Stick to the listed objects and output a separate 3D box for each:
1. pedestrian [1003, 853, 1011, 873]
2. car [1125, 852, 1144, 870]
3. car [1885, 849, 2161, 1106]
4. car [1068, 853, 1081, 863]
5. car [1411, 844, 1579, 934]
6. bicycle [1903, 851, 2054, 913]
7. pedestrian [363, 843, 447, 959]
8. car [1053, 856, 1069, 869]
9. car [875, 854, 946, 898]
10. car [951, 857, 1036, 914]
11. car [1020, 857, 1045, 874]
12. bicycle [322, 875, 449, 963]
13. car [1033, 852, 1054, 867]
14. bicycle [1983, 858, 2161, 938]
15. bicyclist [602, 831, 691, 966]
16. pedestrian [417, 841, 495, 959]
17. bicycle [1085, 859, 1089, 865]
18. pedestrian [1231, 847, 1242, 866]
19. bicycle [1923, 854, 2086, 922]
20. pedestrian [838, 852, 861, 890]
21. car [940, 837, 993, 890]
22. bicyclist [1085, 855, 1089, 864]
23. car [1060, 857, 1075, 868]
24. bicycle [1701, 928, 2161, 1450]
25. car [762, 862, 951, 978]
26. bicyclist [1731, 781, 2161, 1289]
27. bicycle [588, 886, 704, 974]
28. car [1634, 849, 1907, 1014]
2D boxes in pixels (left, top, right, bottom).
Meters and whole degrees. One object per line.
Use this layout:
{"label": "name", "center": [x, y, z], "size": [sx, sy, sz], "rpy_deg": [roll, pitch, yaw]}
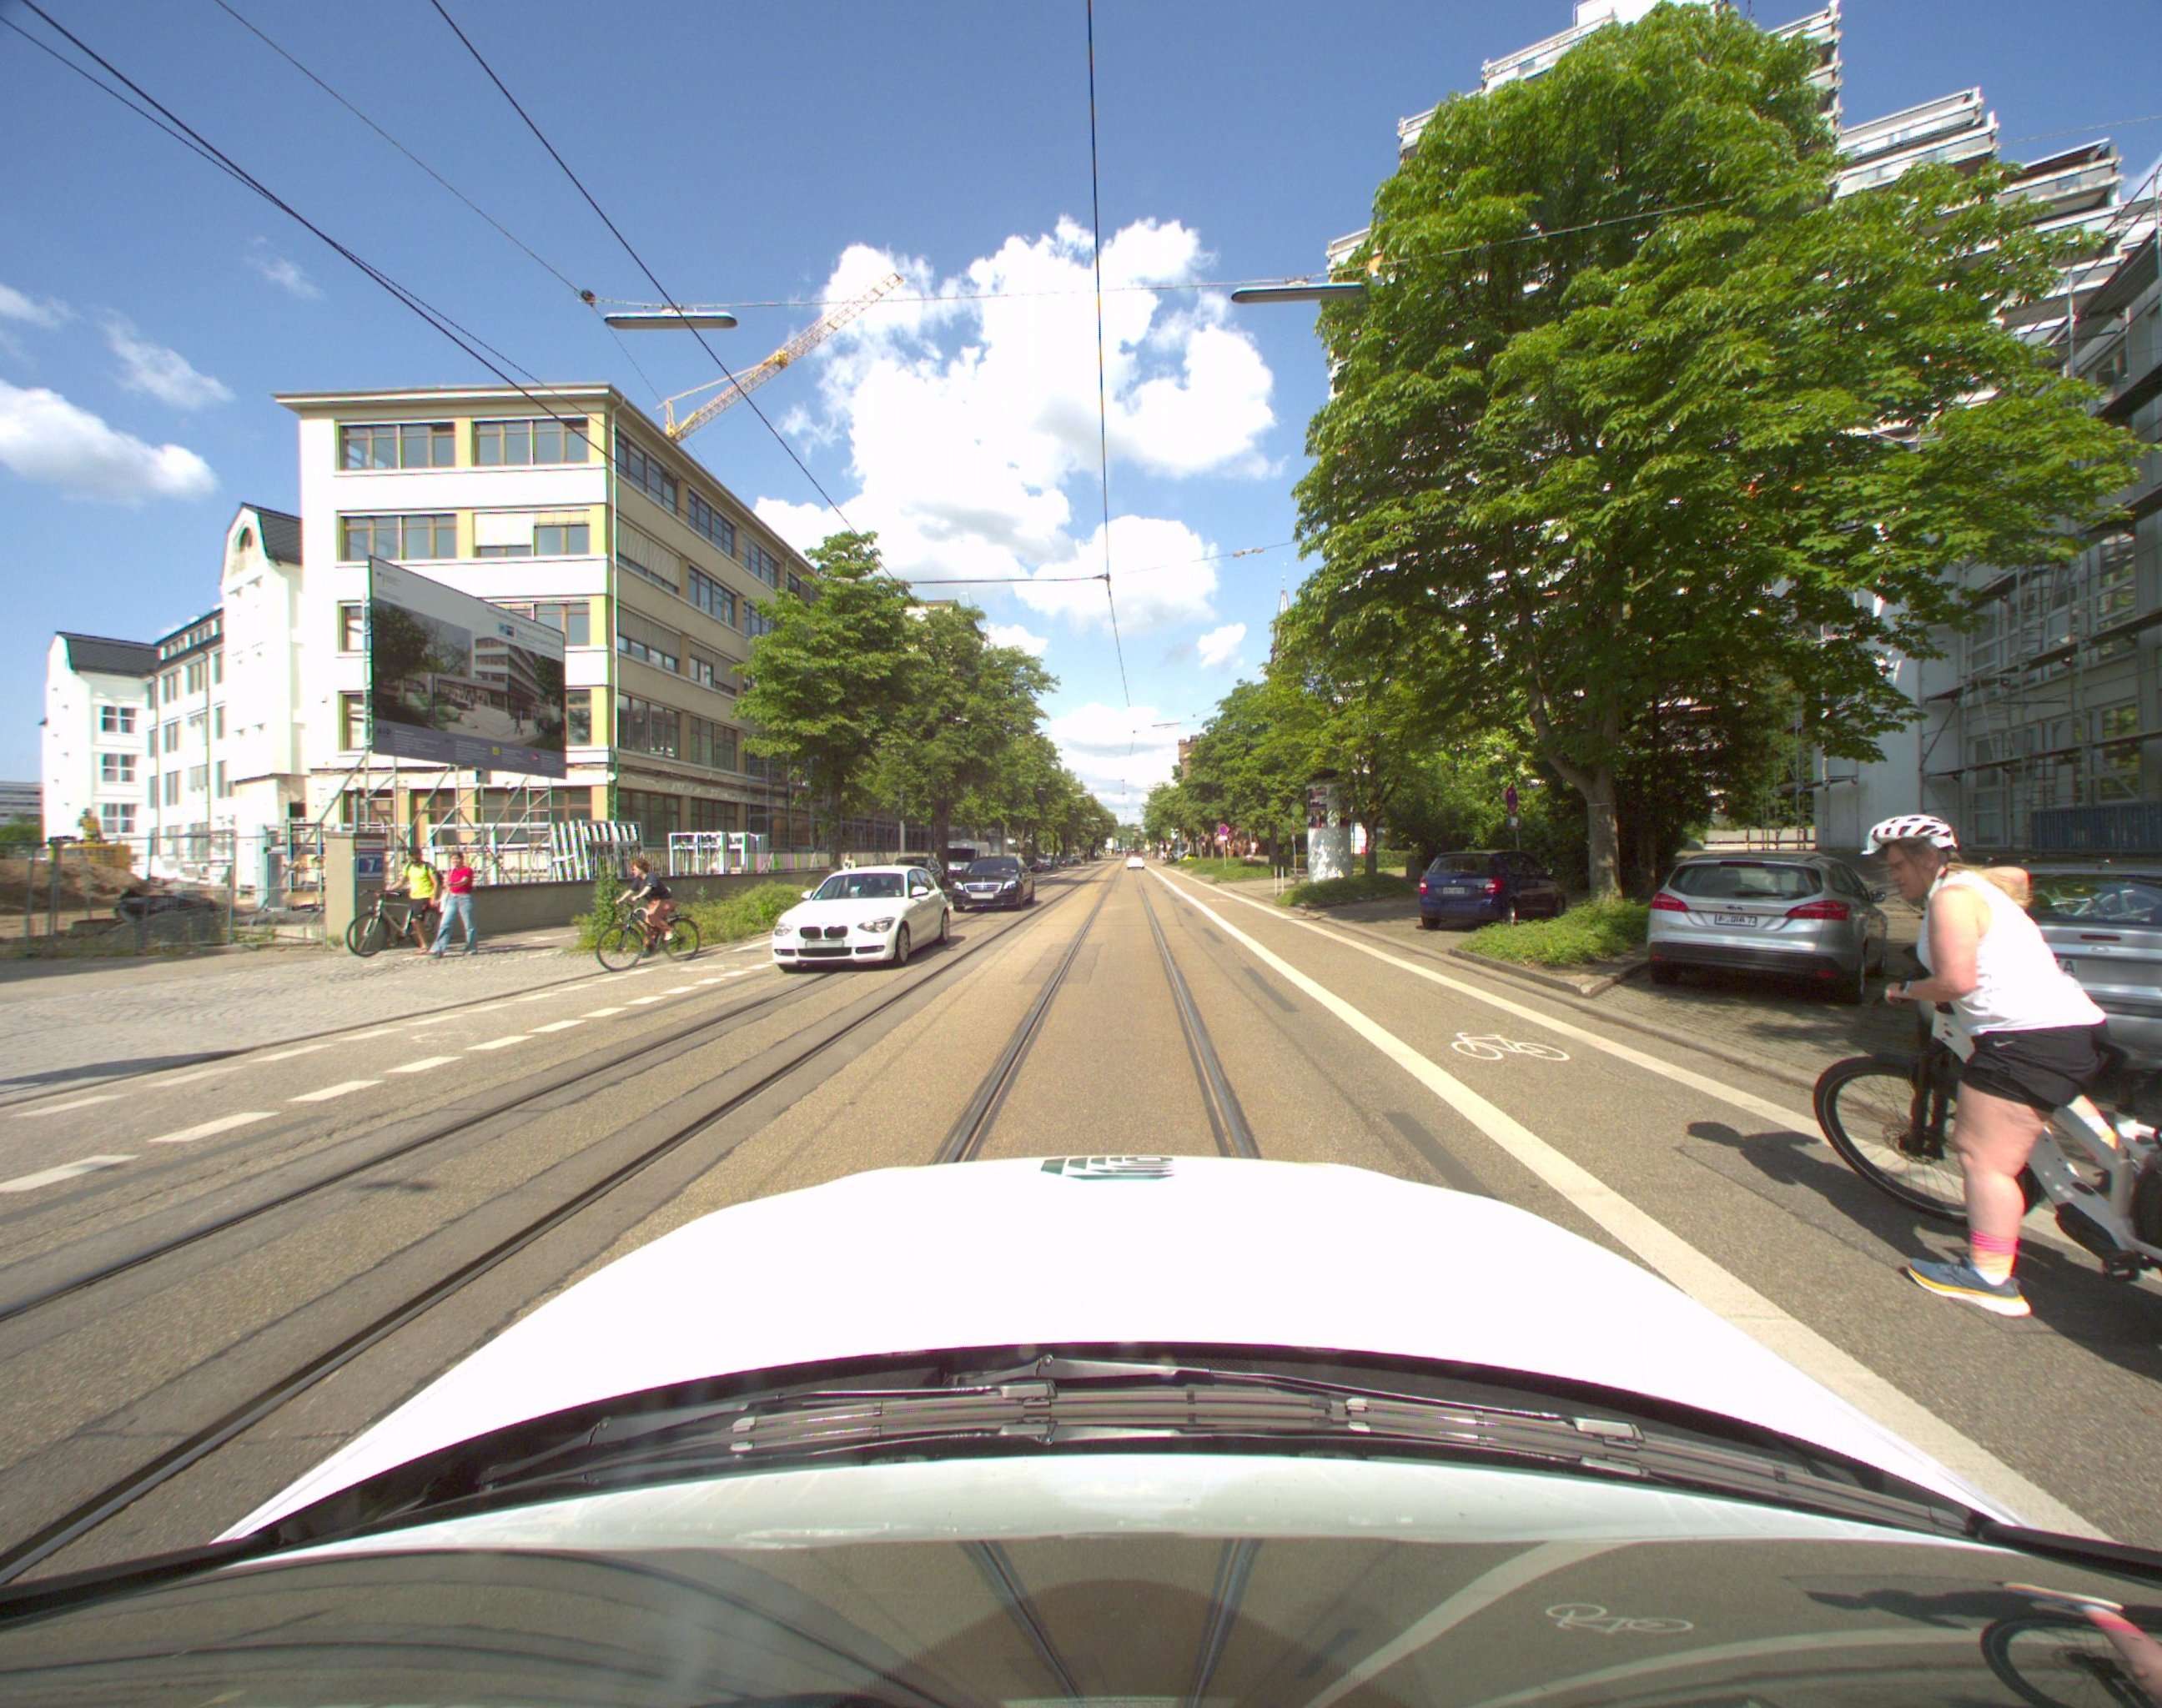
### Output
{"label": "pedestrian", "center": [-7.503, 0.934, 83.045], "size": [0.802, 2.013, 0.484], "rpy_deg": [-1, 0, -6]}
{"label": "car", "center": [5.016, 0.653, 76.706], "size": [1.659, 1.624, 3.621], "rpy_deg": [-1, 0, 1]}
{"label": "car", "center": [7.710, 0.695, 6.084], "size": [4.261, 1.420, 1.705], "rpy_deg": [-1, 1, -35]}
{"label": "car", "center": [-1.080, 0.677, 130.073], "size": [1.797, 1.516, 4.106], "rpy_deg": [-1, 0, 3]}
{"label": "car", "center": [8.167, 0.602, 15.907], "size": [4.023, 1.486, 1.596], "rpy_deg": [-2, 0, -43]}
{"label": "bicycle", "center": [16.569, 0.509, 15.099], "size": [1.809, 1.096, 0.454], "rpy_deg": [-1, 0, 34]}
{"label": "pedestrian", "center": [-10.869, 0.733, 13.107], "size": [0.705, 1.793, 0.661], "rpy_deg": [2, -1, -3]}
{"label": "car", "center": [-2.607, 1.097, 106.277], "size": [1.797, 1.516, 4.106], "rpy_deg": [-1, 0, 3]}
{"label": "car", "center": [-6.813, 0.832, 33.016], "size": [1.797, 1.662, 4.106], "rpy_deg": [1, 0, 3]}
{"label": "car", "center": [-2.435, 0.838, 23.782], "size": [1.793, 1.508, 4.539], "rpy_deg": [0, 0, 2]}
{"label": "car", "center": [-4.353, 1.014, 73.409], "size": [1.797, 1.516, 4.106], "rpy_deg": [1, 0, 3]}
{"label": "bicycle", "center": [-11.226, 1.007, 13.223], "size": [0.444, 1.286, 1.741], "rpy_deg": [-1, 0, 5]}
{"label": "car", "center": [-3.859, 0.563, 84.014], "size": [1.797, 1.516, 4.106], "rpy_deg": [-1, 0, 3]}
{"label": "bicycle", "center": [14.753, 0.638, 12.051], "size": [1.809, 1.095, 0.454], "rpy_deg": [-2, 2, 34]}
{"label": "bicyclist", "center": [-6.810, 0.687, 12.803], "size": [0.873, 2.014, 0.834], "rpy_deg": [-3, -1, 2]}
{"label": "pedestrian", "center": [-10.111, 0.723, 13.196], "size": [0.705, 1.831, 0.661], "rpy_deg": [2, 1, -3]}
{"label": "bicycle", "center": [1.016, 1.401, 135.537], "size": [0.616, 0.973, 1.717], "rpy_deg": [-1, 0, 1]}
{"label": "pedestrian", "center": [16.657, 0.310, 87.364], "size": [0.973, 2.014, 1.094], "rpy_deg": [1, 0, 2]}
{"label": "bicycle", "center": [15.912, 0.569, 14.095], "size": [1.809, 1.096, 0.454], "rpy_deg": [-1, 1, 34]}
{"label": "pedestrian", "center": [-10.053, 0.721, 35.379], "size": [0.761, 1.620, 0.594], "rpy_deg": [1, -1, 3]}
{"label": "car", "center": [-6.052, 0.498, 43.676], "size": [1.762, 2.639, 5.326], "rpy_deg": [1, 0, 3]}
{"label": "bicyclist", "center": [1.001, 0.897, 135.593], "size": [0.656, 1.579, 0.946], "rpy_deg": [1, 0, 1]}
{"label": "car", "center": [-1.927, 1.200, 118.686], "size": [1.797, 1.516, 4.106], "rpy_deg": [1, 0, 3]}
{"label": "bicycle", "center": [3.278, 0.929, 2.841], "size": [0.869, 1.126, 2.141], "rpy_deg": [0, 0, 9]}
{"label": "car", "center": [-3.248, 0.879, 12.683], "size": [1.681, 1.405, 4.226], "rpy_deg": [-3, -1, 0]}
{"label": "bicyclist", "center": [3.234, 0.545, 3.009], "size": [0.884, 1.529, 1.088], "rpy_deg": [1, 0, 9]}
{"label": "bicycle", "center": [-6.769, 1.146, 12.793], "size": [0.641, 1.166, 1.945], "rpy_deg": [-4, -1, 2]}
{"label": "car", "center": [7.876, 0.693, 9.194], "size": [3.824, 1.474, 1.634], "rpy_deg": [0, 1, -39]}
